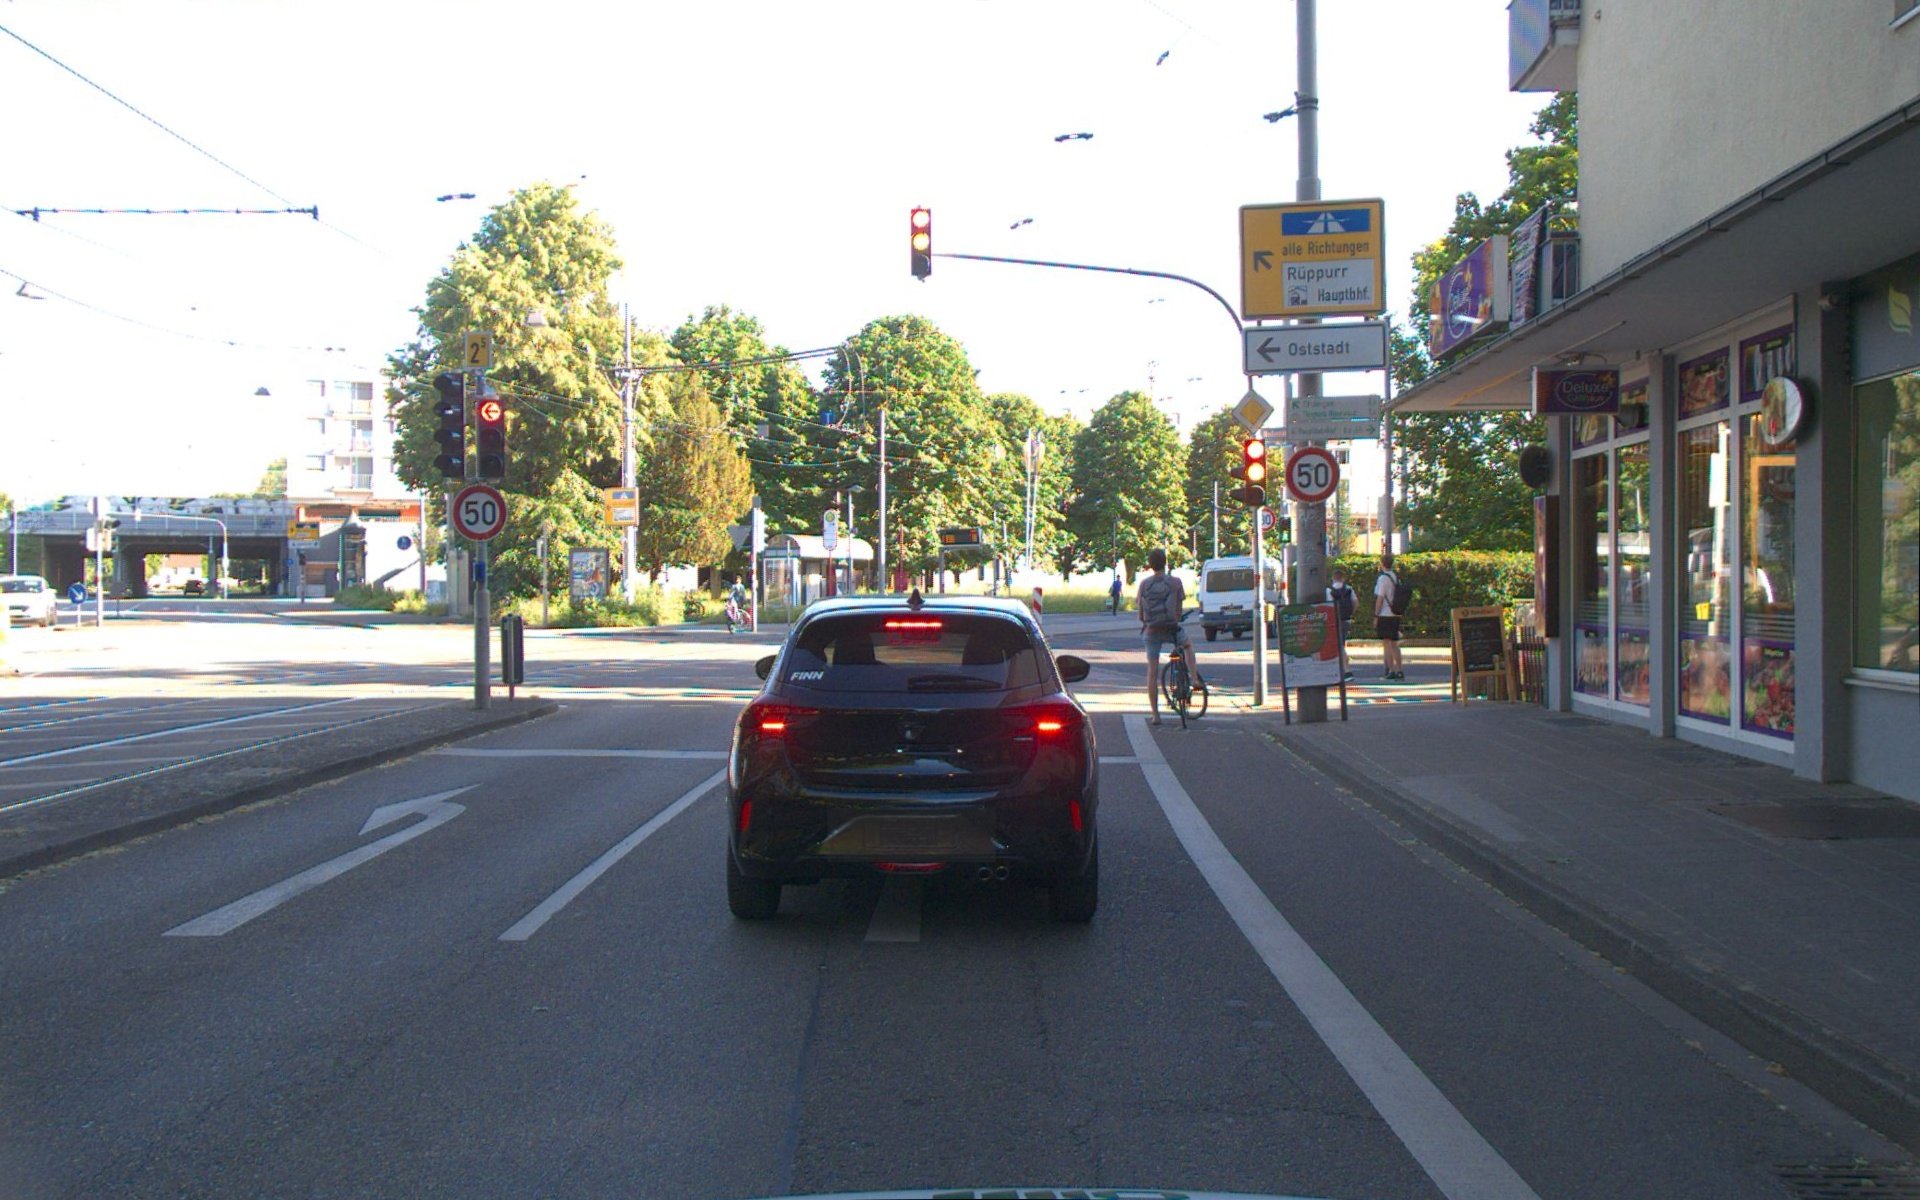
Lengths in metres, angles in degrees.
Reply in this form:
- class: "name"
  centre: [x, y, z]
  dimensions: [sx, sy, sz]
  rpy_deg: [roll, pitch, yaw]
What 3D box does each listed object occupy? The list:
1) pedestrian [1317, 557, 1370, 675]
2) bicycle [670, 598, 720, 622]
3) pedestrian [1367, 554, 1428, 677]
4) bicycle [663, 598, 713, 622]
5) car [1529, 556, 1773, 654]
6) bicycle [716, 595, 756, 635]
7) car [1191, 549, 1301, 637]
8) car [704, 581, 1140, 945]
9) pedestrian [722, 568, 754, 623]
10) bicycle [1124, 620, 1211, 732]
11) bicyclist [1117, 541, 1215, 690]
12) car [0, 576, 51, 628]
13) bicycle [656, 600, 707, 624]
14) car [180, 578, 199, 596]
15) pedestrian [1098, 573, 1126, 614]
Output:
- class: "pedestrian"
  centre: [6.000, 0.249, 25.890]
  dimensions: [0.684, 1.823, 0.617]
  rpy_deg: [0, 0, -1]
- class: "bicycle"
  centre: [-10.497, 0.407, 65.519]
  dimensions: [1.837, 0.922, 0.660]
  rpy_deg: [0, 0, 6]
- class: "pedestrian"
  centre: [6.790, 0.234, 25.643]
  dimensions: [0.691, 1.878, 0.697]
  rpy_deg: [0, 0, 39]
- class: "bicycle"
  centre: [-10.630, 0.401, 64.646]
  dimensions: [1.837, 0.922, 0.660]
  rpy_deg: [0, 0, 6]
- class: "car"
  centre: [13.543, 0.127, 32.625]
  dimensions: [4.087, 1.846, 1.807]
  rpy_deg: [0, -2, 8]
- class: "bicycle"
  centre: [-6.283, 0.402, 46.521]
  dimensions: [0.808, 1.078, 1.883]
  rpy_deg: [0, 1, 2]
- class: "car"
  centre: [8.030, -0.178, 46.136]
  dimensions: [2.047, 2.317, 4.304]
  rpy_deg: [1, 0, 23]
- class: "car"
  centre: [-0.130, 0.642, 8.687]
  dimensions: [1.763, 1.466, 3.940]
  rpy_deg: [0, 1, 1]
- class: "pedestrian"
  centre: [-6.962, -0.143, 51.828]
  dimensions: [0.694, 1.722, 0.717]
  rpy_deg: [-1, 0, -41]
- class: "bicycle"
  centre: [2.212, 0.783, 17.834]
  dimensions: [0.653, 1.078, 2.082]
  rpy_deg: [0, 1, -1]
- class: "bicyclist"
  centre: [2.206, 0.153, 17.864]
  dimensions: [0.823, 1.536, 1.368]
  rpy_deg: [0, 0, -3]
- class: "car"
  centre: [-31.536, 0.042, 54.986]
  dimensions: [1.975, 1.660, 4.577]
  rpy_deg: [-1, 1, -33]
- class: "bicycle"
  centre: [-10.710, 0.457, 63.660]
  dimensions: [1.837, 0.922, 0.660]
  rpy_deg: [0, 0, 6]
- class: "car"
  centre: [-92.458, -1.527, 198.437]
  dimensions: [1.970, 2.049, 3.965]
  rpy_deg: [1, 0, -27]
- class: "pedestrian"
  centre: [6.799, -0.298, 73.989]
  dimensions: [0.939, 1.824, 0.995]
  rpy_deg: [0, 0, 25]
